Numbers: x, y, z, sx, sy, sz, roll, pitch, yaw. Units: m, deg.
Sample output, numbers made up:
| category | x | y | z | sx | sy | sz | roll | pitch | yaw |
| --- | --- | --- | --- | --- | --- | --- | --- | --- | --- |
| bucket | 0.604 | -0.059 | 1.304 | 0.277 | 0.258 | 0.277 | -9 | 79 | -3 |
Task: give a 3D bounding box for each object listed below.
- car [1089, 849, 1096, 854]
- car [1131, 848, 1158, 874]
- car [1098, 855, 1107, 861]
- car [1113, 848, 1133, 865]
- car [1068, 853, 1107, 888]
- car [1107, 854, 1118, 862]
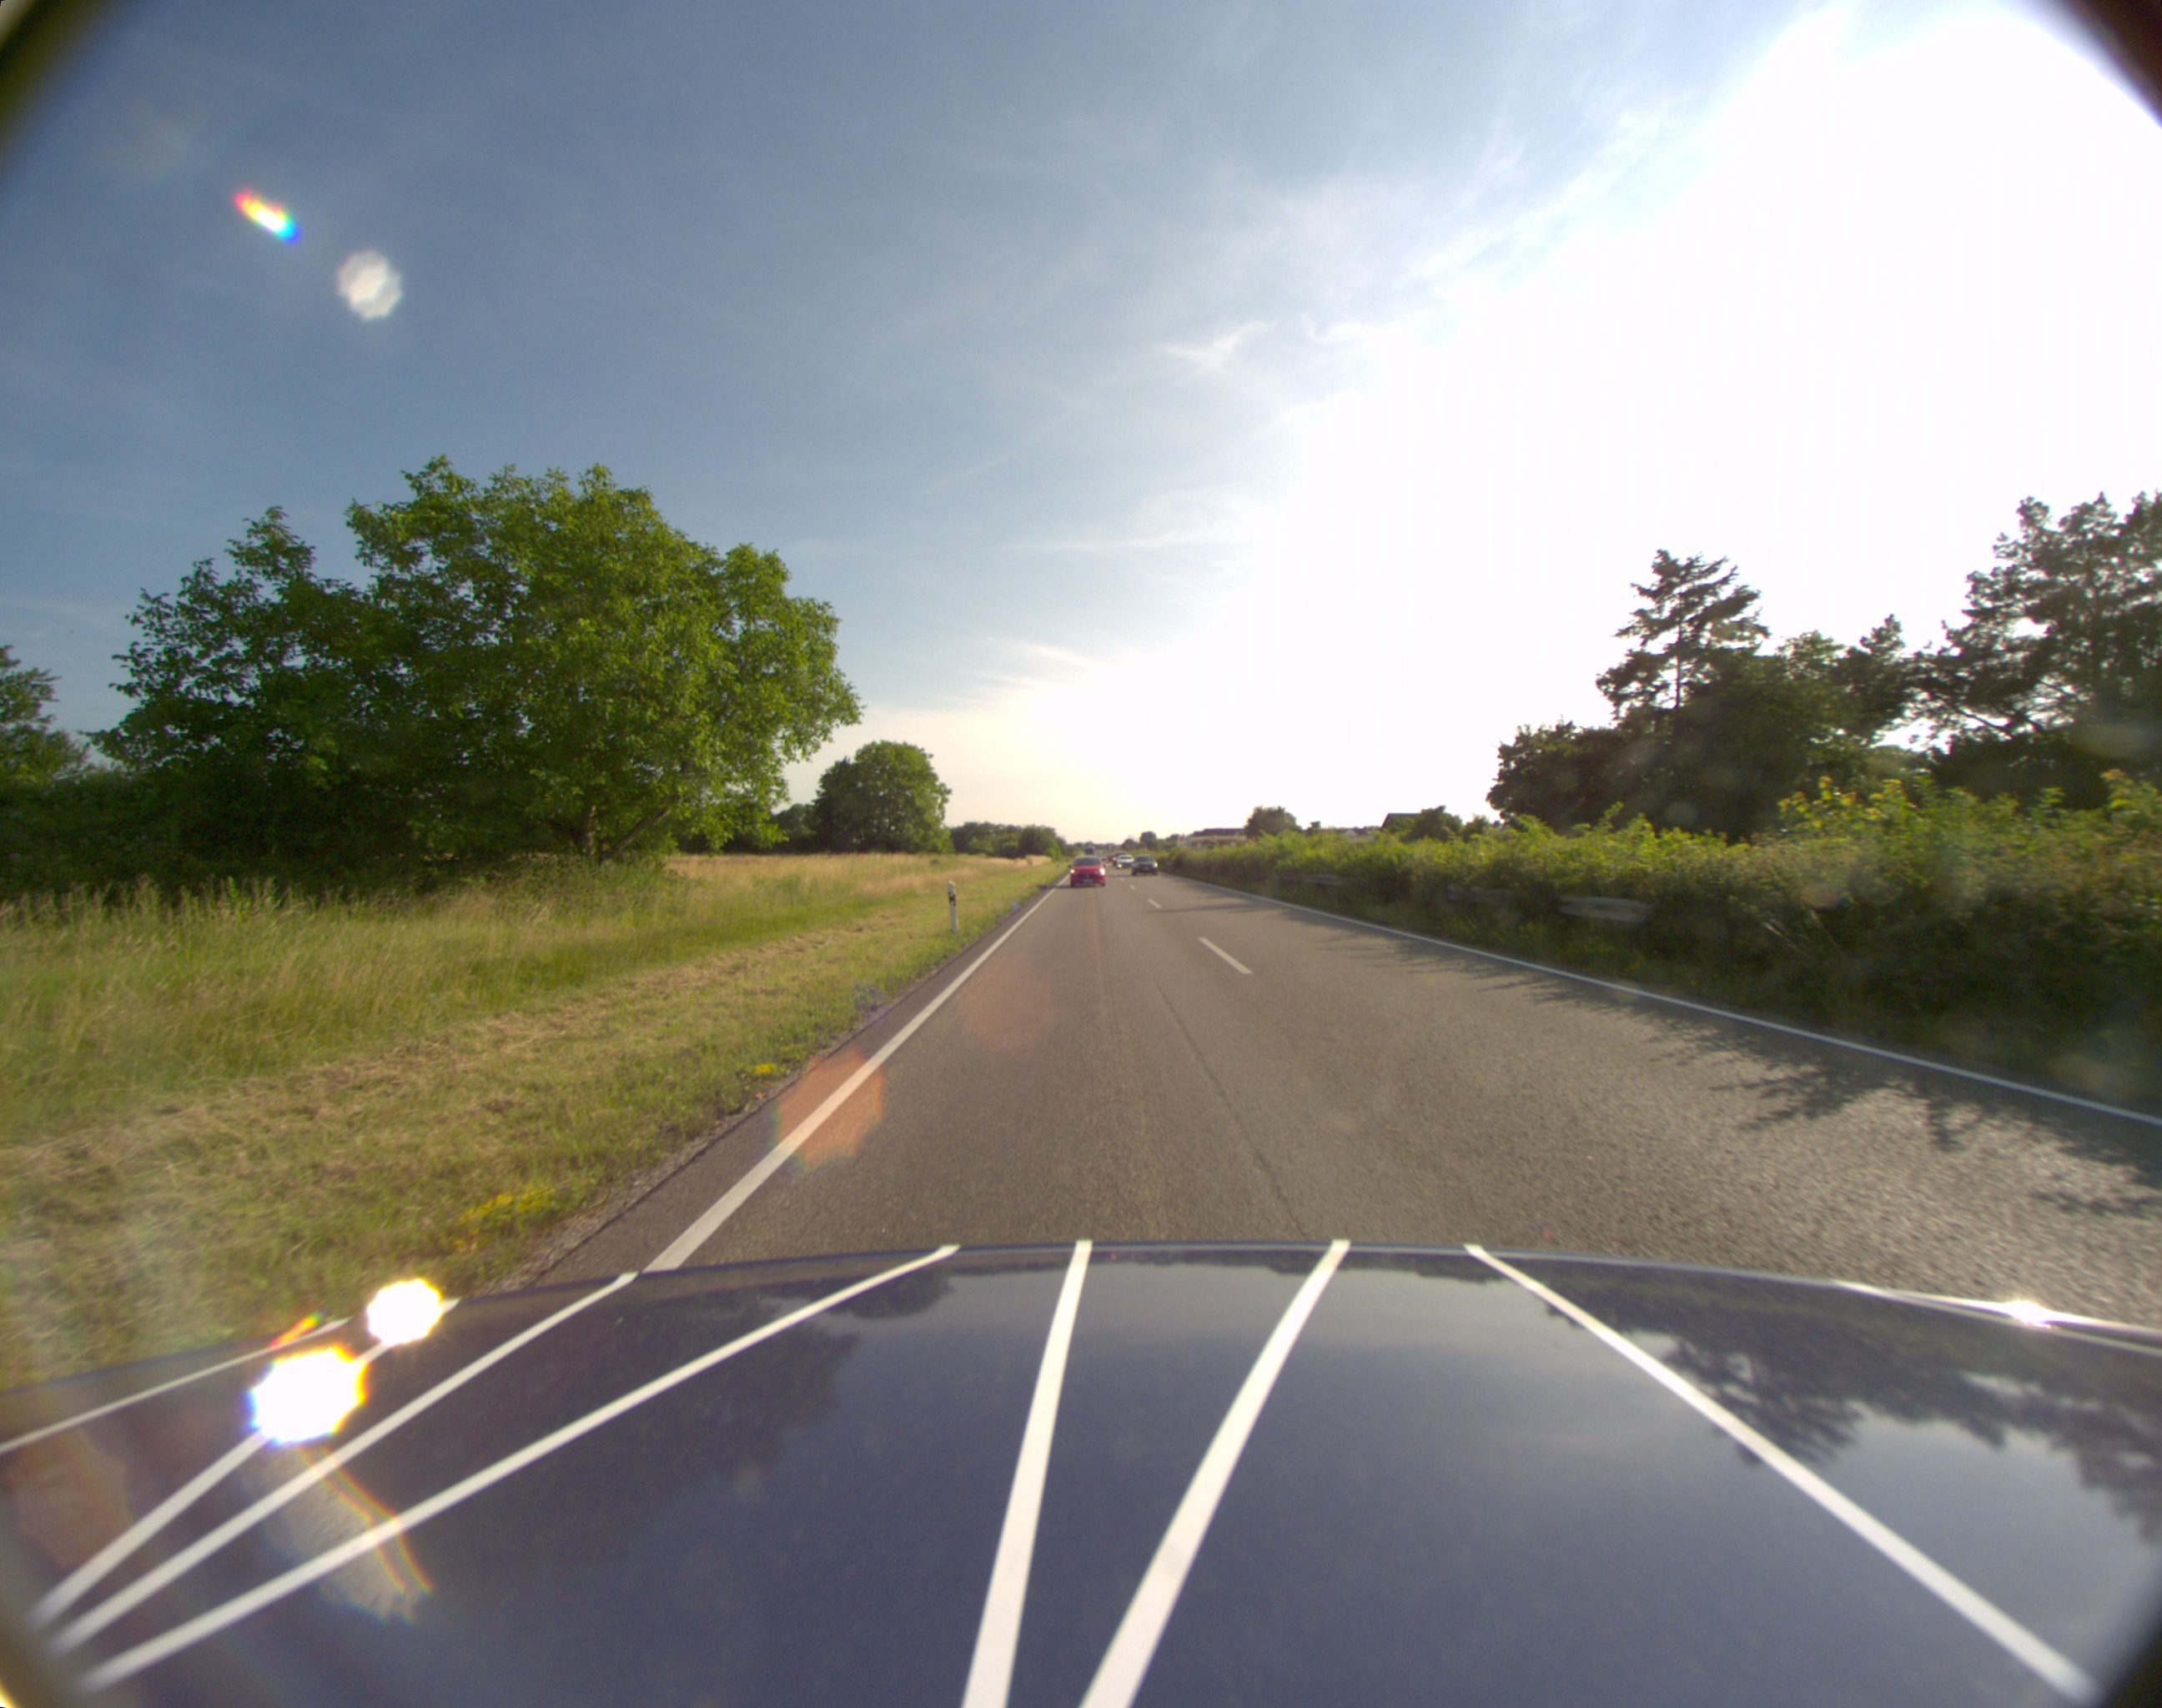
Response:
| category | x | y | z | sx | sy | sz | roll | pitch | yaw |
| --- | --- | --- | --- | --- | --- | --- | --- | --- | --- |
| car | 3.236 | -0.677 | 214.207 | 1.998 | 1.412 | 4.000 | -2 | 1 | 2 |
| car | 4.519 | 0.472 | 54.725 | 1.693 | 1.695 | 4.000 | -2 | 1 | 2 |
| car | 5.105 | 0.904 | 180.318 | 1.998 | 1.412 | 4.000 | -2 | 1 | 2 |
| car | 4.494 | 0.265 | 81.031 | 1.998 | 1.762 | 4.000 | -2 | 1 | 2 |
| car | 0.383 | 0.773 | 38.028 | 1.821 | 1.565 | 4.000 | -2 | 1 | 2 |
| car | 6.227 | 0.768 | 151.254 | 1.998 | 1.412 | 4.000 | -2 | 1 | 2 |
